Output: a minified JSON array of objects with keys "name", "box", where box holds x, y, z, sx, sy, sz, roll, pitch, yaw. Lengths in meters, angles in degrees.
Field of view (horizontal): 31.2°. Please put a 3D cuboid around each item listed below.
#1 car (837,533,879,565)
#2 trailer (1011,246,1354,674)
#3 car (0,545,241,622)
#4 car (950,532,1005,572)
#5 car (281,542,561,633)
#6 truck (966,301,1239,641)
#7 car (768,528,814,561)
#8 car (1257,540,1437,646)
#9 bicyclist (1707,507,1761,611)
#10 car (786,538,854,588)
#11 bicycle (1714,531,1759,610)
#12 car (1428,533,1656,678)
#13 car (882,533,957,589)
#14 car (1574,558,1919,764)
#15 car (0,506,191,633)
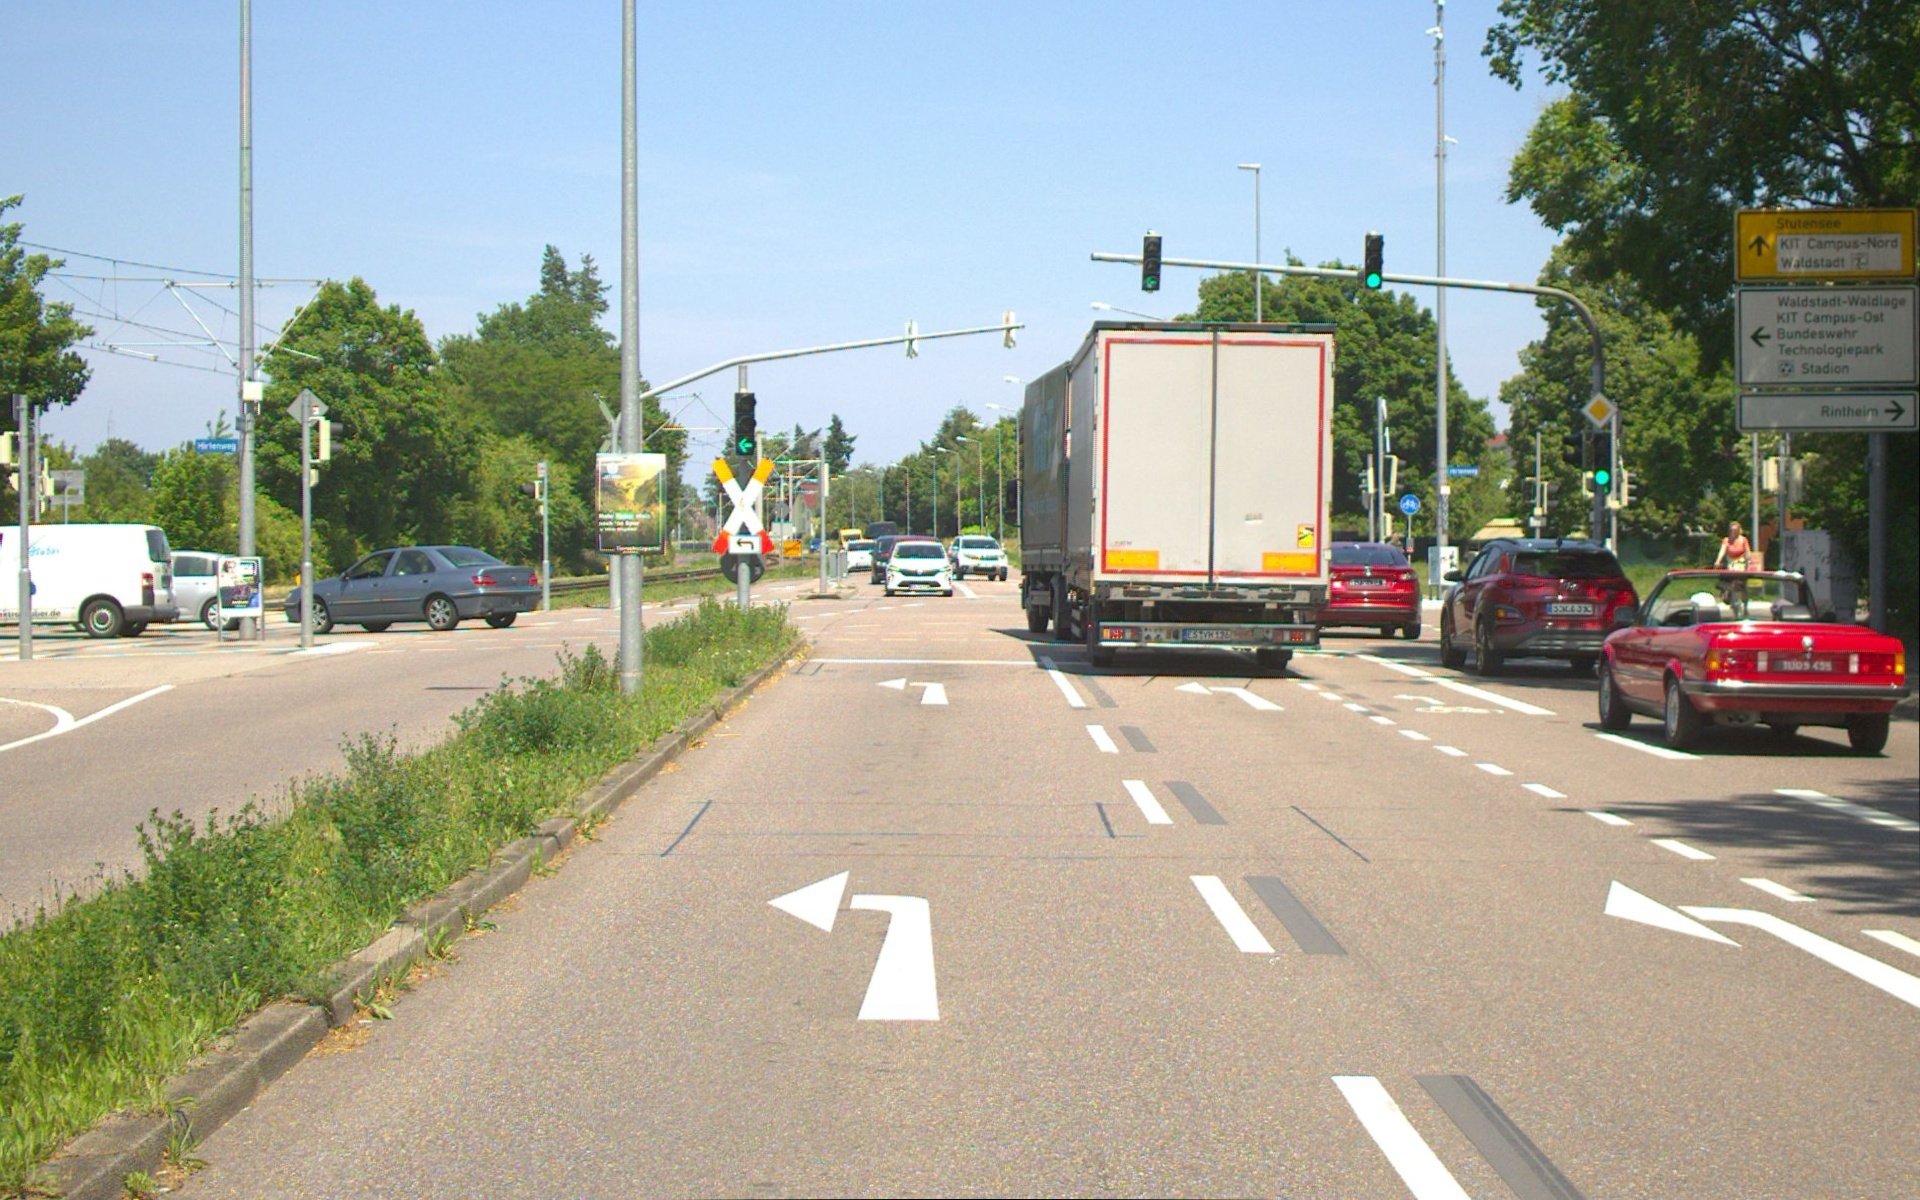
[{"name":"car","box":[-4.547,-2.288,153.663,1.858,1.368,4.157,1,1,-1]},{"name":"trailer","box":[2.400,-1.566,40.346,2.826,4.406,8.751,1,1,-4]},{"name":"car","box":[-15.728,-0.322,63.816,4.414,1.367,1.899,0,2,-21]},{"name":"car","box":[0.612,-1.743,124.670,1.858,1.368,4.157,1,1,-1]},{"name":"car","box":[-8.937,-0.237,56.893,4.423,1.367,1.895,2,2,32]},{"name":"truck","box":[1.864,-1.823,48.886,2.826,4.329,8.286,2,2,-4]},{"name":"car","box":[-7.309,-2.411,149.168,1.858,1.368,4.157,1,1,-1]},{"name":"car","box":[5.931,-0.144,53.180,1.993,1.498,4.503,0,2,-4]},{"name":"bicyclist","box":[13.112,-0.693,58.268,0.802,1.721,0.678,-2,0,11]},{"name":"car","box":[-4.015,-1.079,98.869,1.858,1.368,4.157,1,1,-1]},{"name":"bicycle","box":[13.202,-0.502,58.475,0.645,1.300,1.625,-2,1,11]},{"name":"car","box":[6.675,0.024,39.807,1.858,1.544,3.887,1,1,-1]},{"name":"car","box":[-1.076,-1.027,89.623,1.858,1.368,4.157,1,1,-1]},{"name":"car","box":[6.074,0.415,26.853,1.654,1.392,4.267,1,1,-1]},{"name":"car","box":[-15.915,-0.551,59.479,4.732,2.103,2.000,1,2,4]}]
